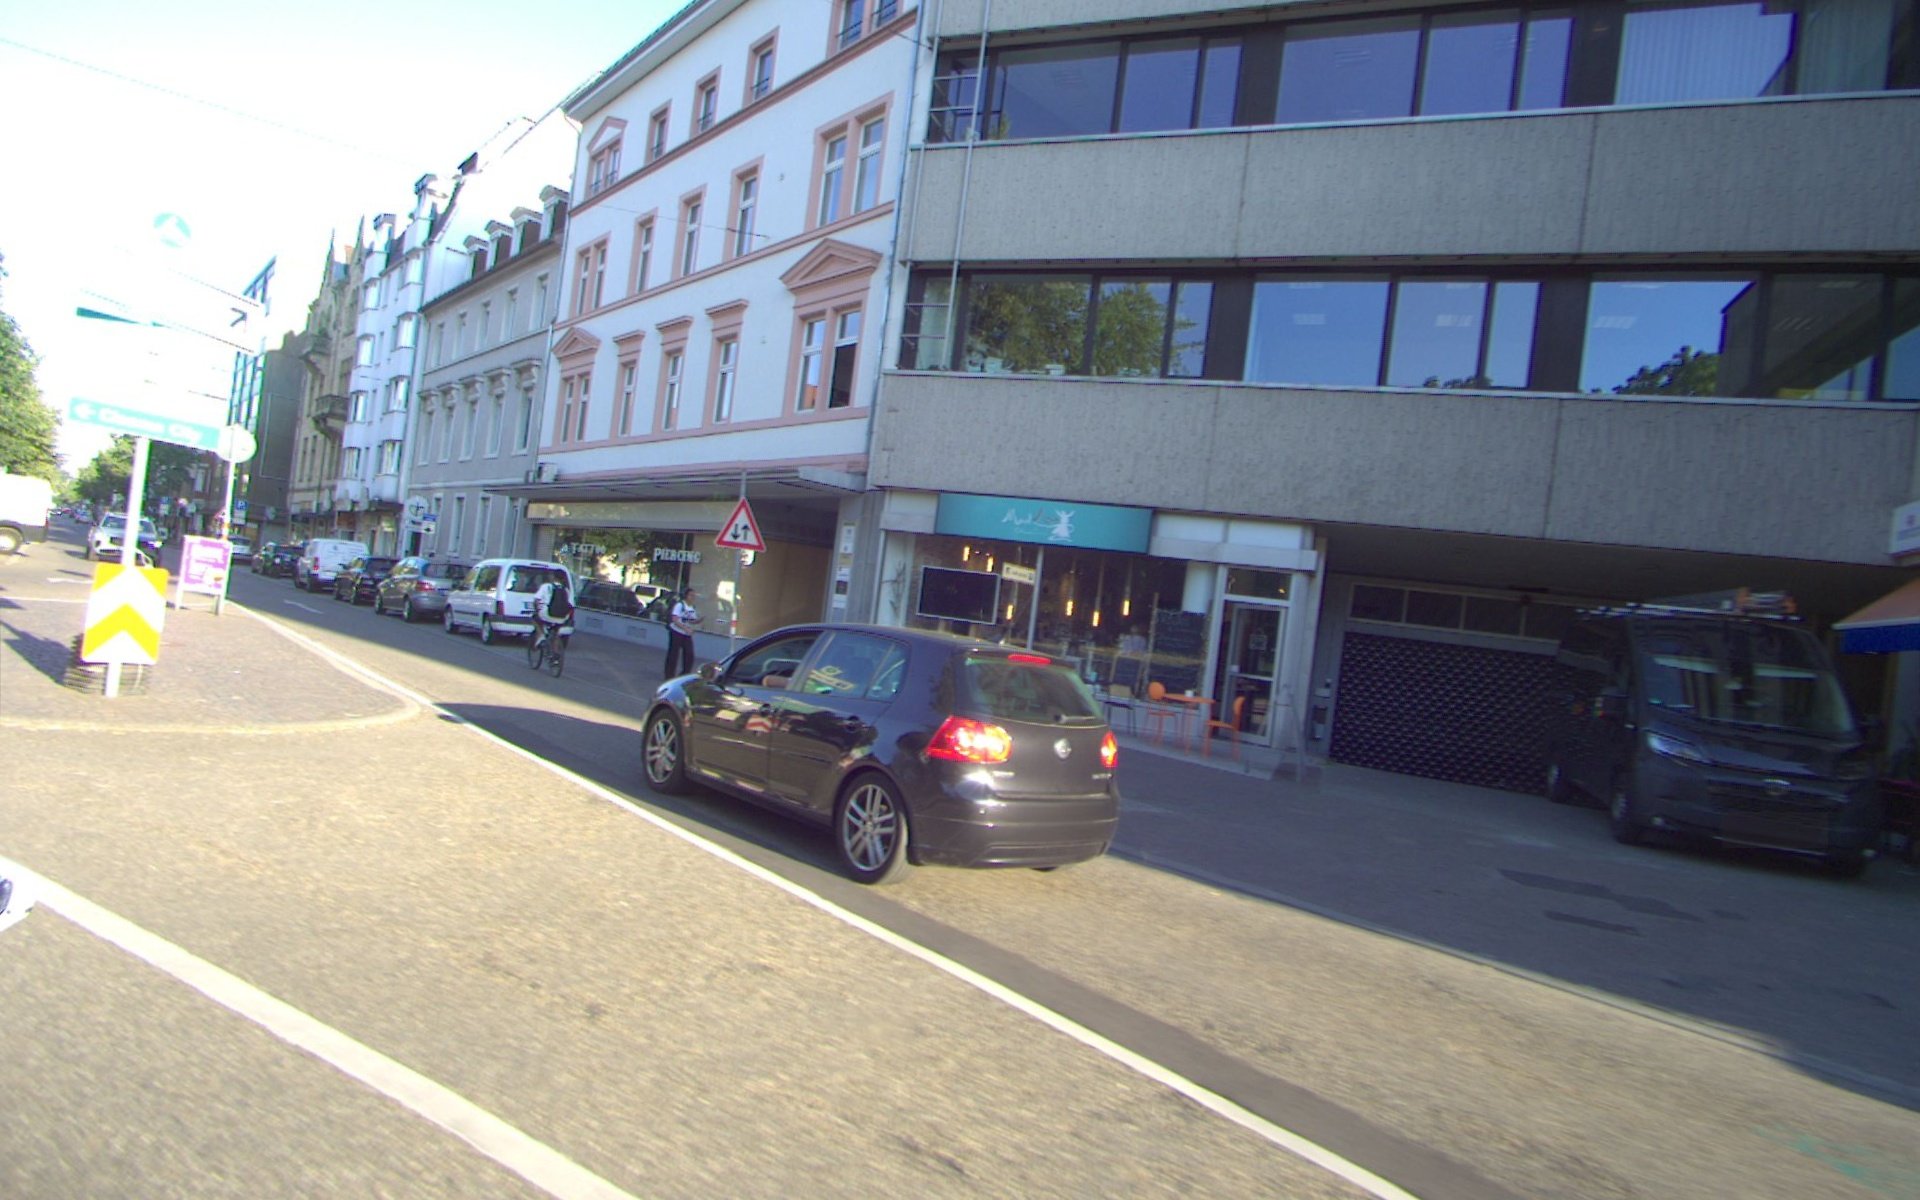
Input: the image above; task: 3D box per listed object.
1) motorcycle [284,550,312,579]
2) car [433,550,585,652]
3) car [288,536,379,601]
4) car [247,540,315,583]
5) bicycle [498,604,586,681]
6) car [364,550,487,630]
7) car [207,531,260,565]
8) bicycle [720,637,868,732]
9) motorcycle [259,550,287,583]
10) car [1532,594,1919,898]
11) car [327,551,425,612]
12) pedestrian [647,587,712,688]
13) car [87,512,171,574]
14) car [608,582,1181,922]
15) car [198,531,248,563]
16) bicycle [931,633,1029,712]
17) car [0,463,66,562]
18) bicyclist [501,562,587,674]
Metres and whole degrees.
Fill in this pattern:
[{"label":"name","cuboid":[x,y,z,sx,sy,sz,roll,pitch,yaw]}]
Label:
[{"label":"motorcycle","cuboid":[-27.406,-1.488,41.647,1.809,1.057,0.485,7,2,43]},{"label":"car","cuboid":[-9.849,-0.021,21.813,1.729,1.822,3.869,6,0,-43]},{"label":"car","cuboid":[-21.764,-1.118,34.870,1.918,1.864,3.971,6,0,-42]},{"label":"car","cuboid":[-29.878,-1.716,44.240,1.746,1.529,3.925,6,0,-44]},{"label":"bicycle","cuboid":[-6.802,0.669,16.307,0.577,0.998,1.912,9,-2,-43]},{"label":"car","cuboid":[-13.674,-0.282,25.617,1.729,1.637,3.869,6,0,-43]},{"label":"car","cuboid":[-39.112,-2.806,54.125,1.746,1.529,3.501,6,0,-44]},{"label":"bicycle","cuboid":[-2.211,1.126,13.414,1.822,1.059,0.579,6,2,-13]},{"label":"motorcycle","cuboid":[-28.230,-1.371,41.325,1.584,1.190,0.486,7,2,40]},{"label":"car","cuboid":[8.366,1.401,11.631,2.053,2.472,5.332,6,0,21]},{"label":"car","cuboid":[-17.620,-0.572,30.278,1.729,1.480,3.542,6,0,-43]},{"label":"pedestrian","cuboid":[-4.663,0.620,16.717,0.628,1.573,0.730,8,-1,-41]},{"label":"car","cuboid":[-29.645,-2.048,35.854,1.988,1.793,3.952,8,-1,-42]},{"label":"car","cuboid":[-0.715,0.842,7.134,1.743,1.478,4.053,9,-2,-43]},{"label":"car","cuboid":[-41.847,-3.022,57.088,1.746,1.529,3.501,6,0,-44]},{"label":"bicycle","cuboid":[0.330,1.174,16.448,1.494,1.134,0.515,5,2,3]},{"label":"car","cuboid":[-28.594,-2.756,27.602,2.115,2.625,5.533,7,-2,21]},{"label":"bicyclist","cuboid":[-6.686,0.282,16.170,0.775,1.637,1.012,9,-2,-44]}]
